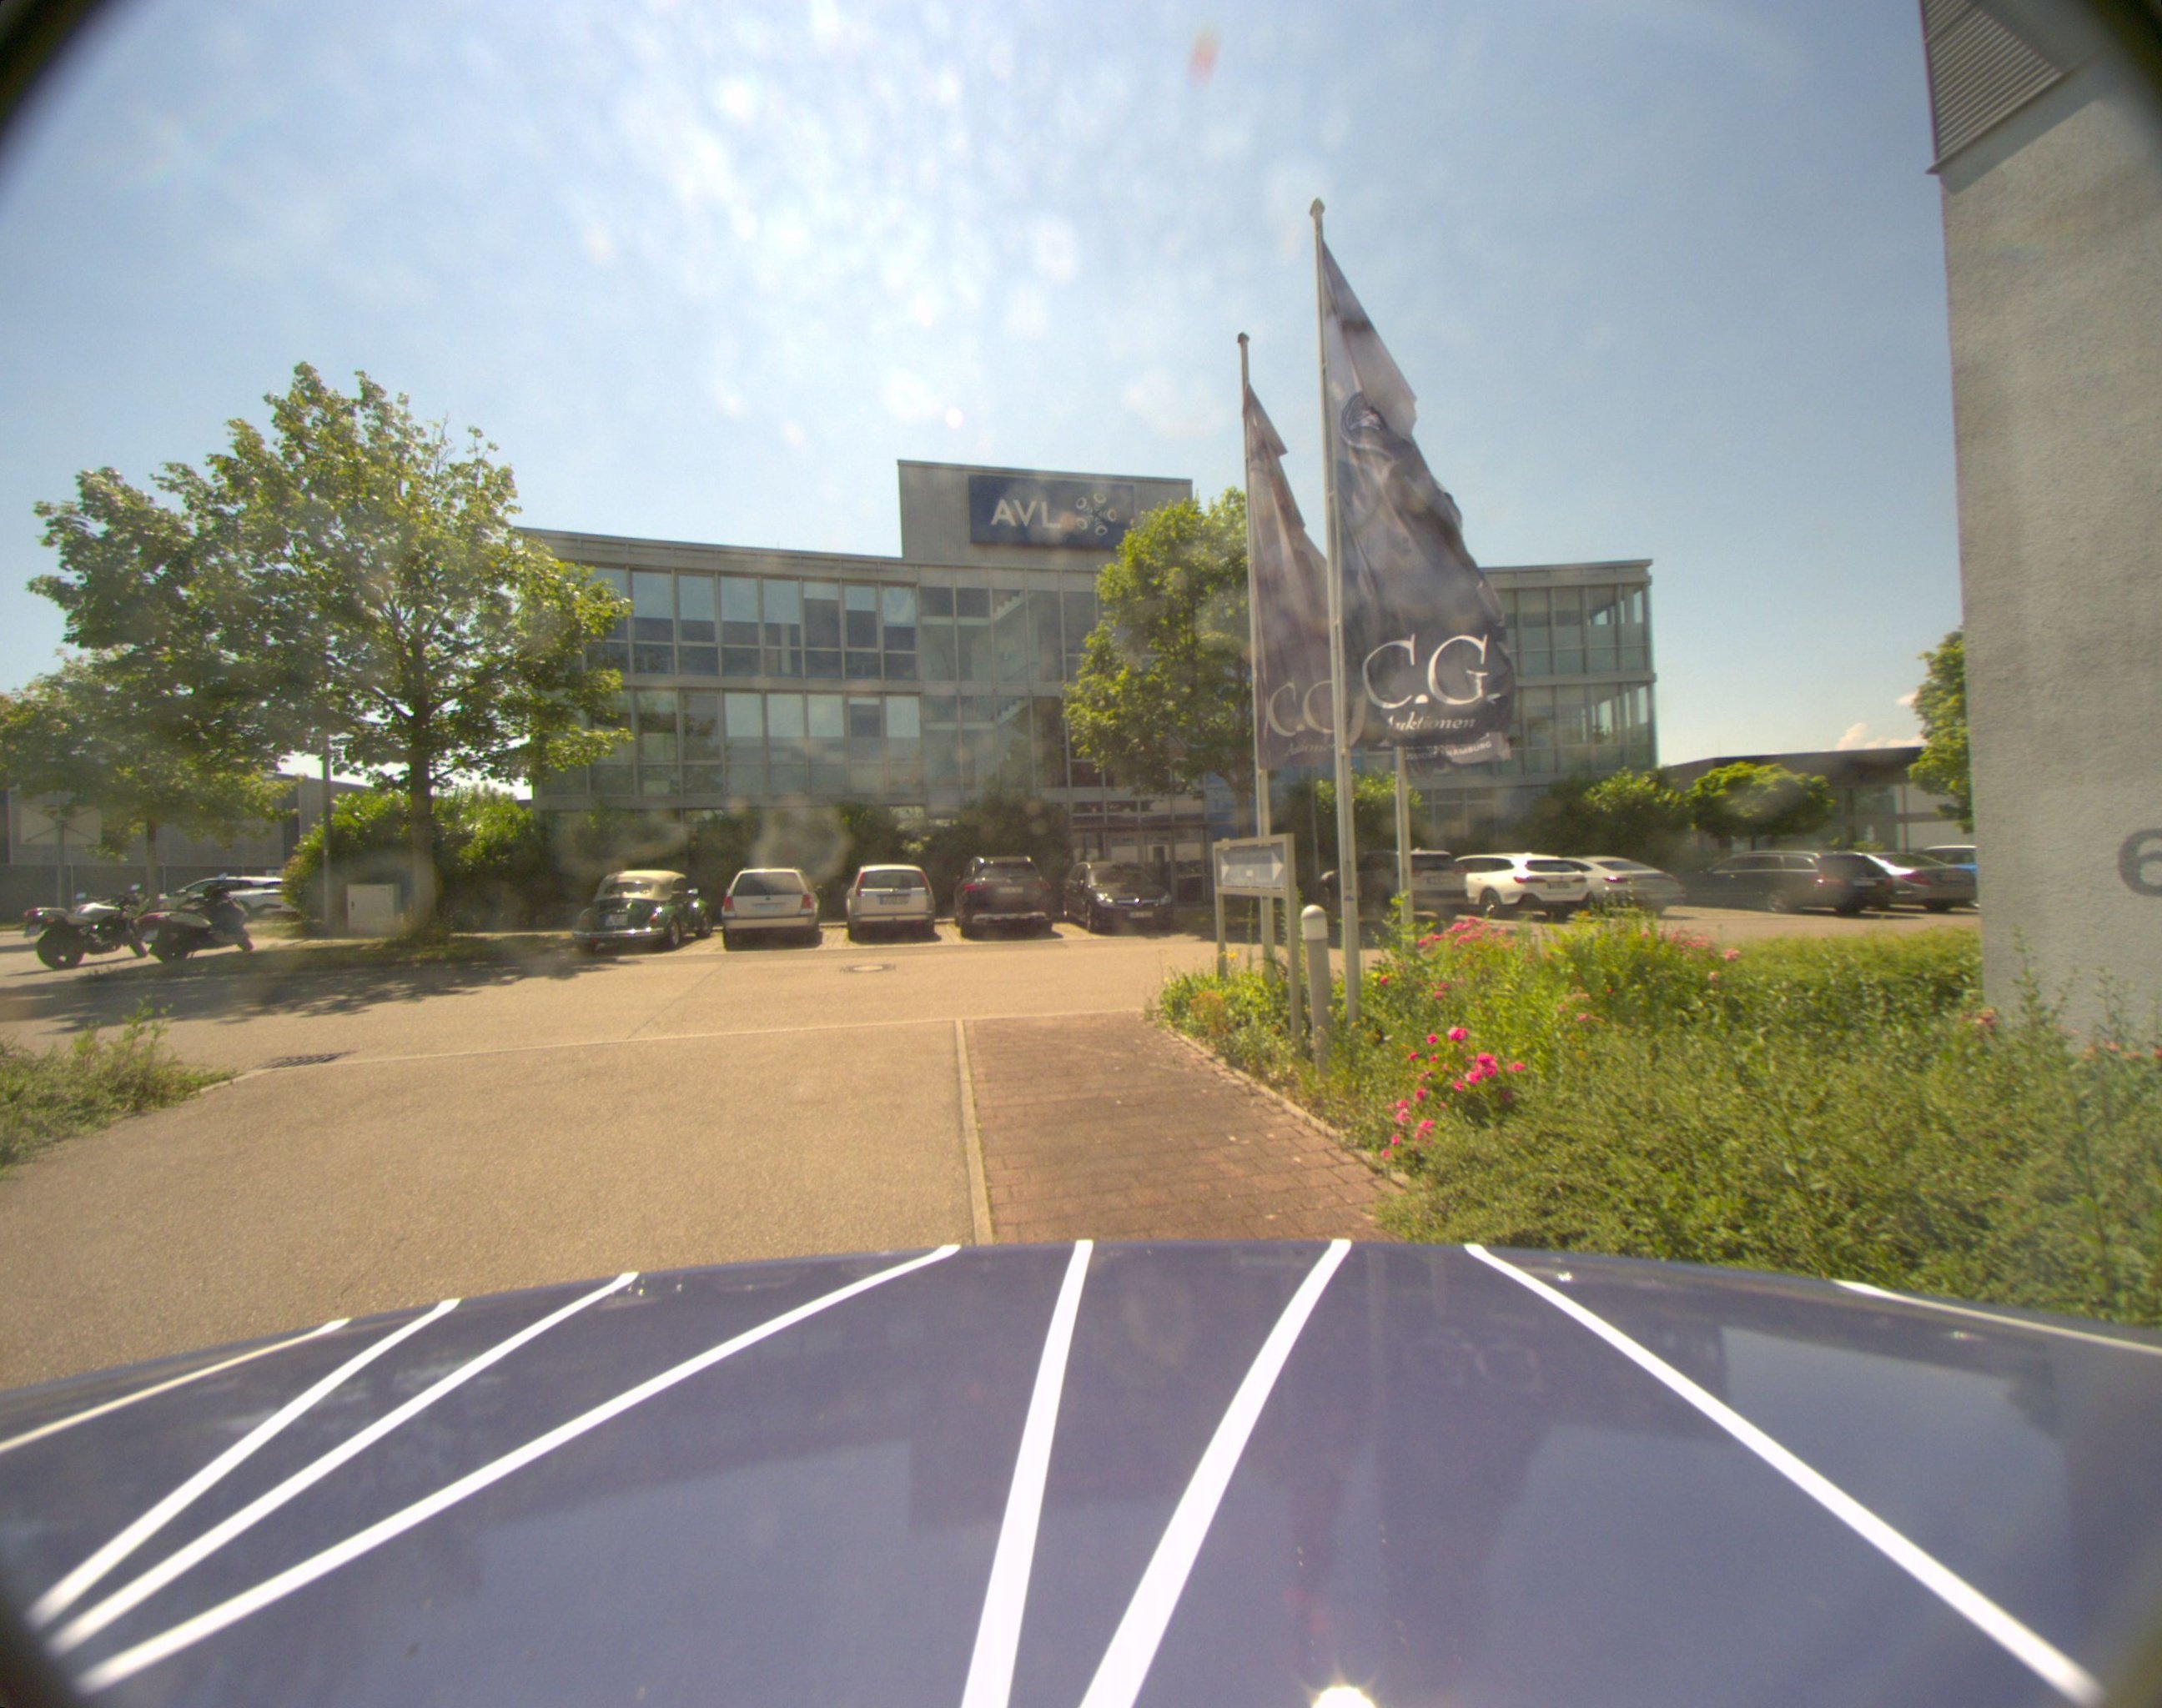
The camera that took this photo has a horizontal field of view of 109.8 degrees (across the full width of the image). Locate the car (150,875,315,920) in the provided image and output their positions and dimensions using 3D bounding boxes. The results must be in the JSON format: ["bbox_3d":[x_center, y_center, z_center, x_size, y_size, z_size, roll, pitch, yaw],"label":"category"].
[{"bbox_3d":[-31.634,1.604,28.387,4.410,1.467,1.781,-1,0,5],"label":"car"}]

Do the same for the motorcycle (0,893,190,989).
[{"bbox_3d":[-16.386,1.343,12.374,0.874,1.252,2.832,-1,0,-13],"label":"motorcycle"}]

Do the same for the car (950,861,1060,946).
[{"bbox_3d":[-1.791,0.970,16.747,1.940,1.593,3.855,-1,0,-13],"label":"car"}]

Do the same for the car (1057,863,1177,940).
[{"bbox_3d":[0.674,0.972,17.391,1.731,1.475,4.393,-1,0,-11],"label":"car"}]

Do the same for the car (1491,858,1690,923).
[{"bbox_3d":[12.451,0.818,18.941,1.753,1.392,4.168,-1,0,-9],"label":"car"}]

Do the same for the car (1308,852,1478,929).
[{"bbox_3d":[7.414,0.797,18.565,1.834,1.628,4.167,-1,0,-11],"label":"car"}]

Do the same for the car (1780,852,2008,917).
[{"bbox_3d":[20.095,0.678,19.097,1.750,1.416,4.174,-1,1,10],"label":"car"}]

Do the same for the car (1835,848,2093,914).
[{"bbox_3d":[22.372,0.608,19.561,1.751,1.416,4.170,-1,1,-1],"label":"car"}]

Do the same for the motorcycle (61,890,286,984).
[{"bbox_3d":[-15.125,1.307,12.847,0.874,1.252,2.832,-1,0,-13],"label":"motorcycle"}]

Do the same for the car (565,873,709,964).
[{"bbox_3d":[-8.429,1.141,14.731,1.523,1.437,3.415,-1,0,-14],"label":"car"}]

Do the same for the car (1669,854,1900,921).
[{"bbox_3d":[17.157,0.743,18.869,1.752,1.416,4.170,-1,1,-3],"label":"car"}]

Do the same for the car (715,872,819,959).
[{"bbox_3d":[-6.221,1.128,15.368,1.644,1.443,3.595,0,0,-18],"label":"car"}]

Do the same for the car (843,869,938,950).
[{"bbox_3d":[-4.201,1.085,16.417,1.734,1.443,3.595,-1,0,-18],"label":"car"}]

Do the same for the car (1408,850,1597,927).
[{"bbox_3d":[10.071,0.747,18.575,1.833,1.628,4.168,-1,0,-9],"label":"car"}]
